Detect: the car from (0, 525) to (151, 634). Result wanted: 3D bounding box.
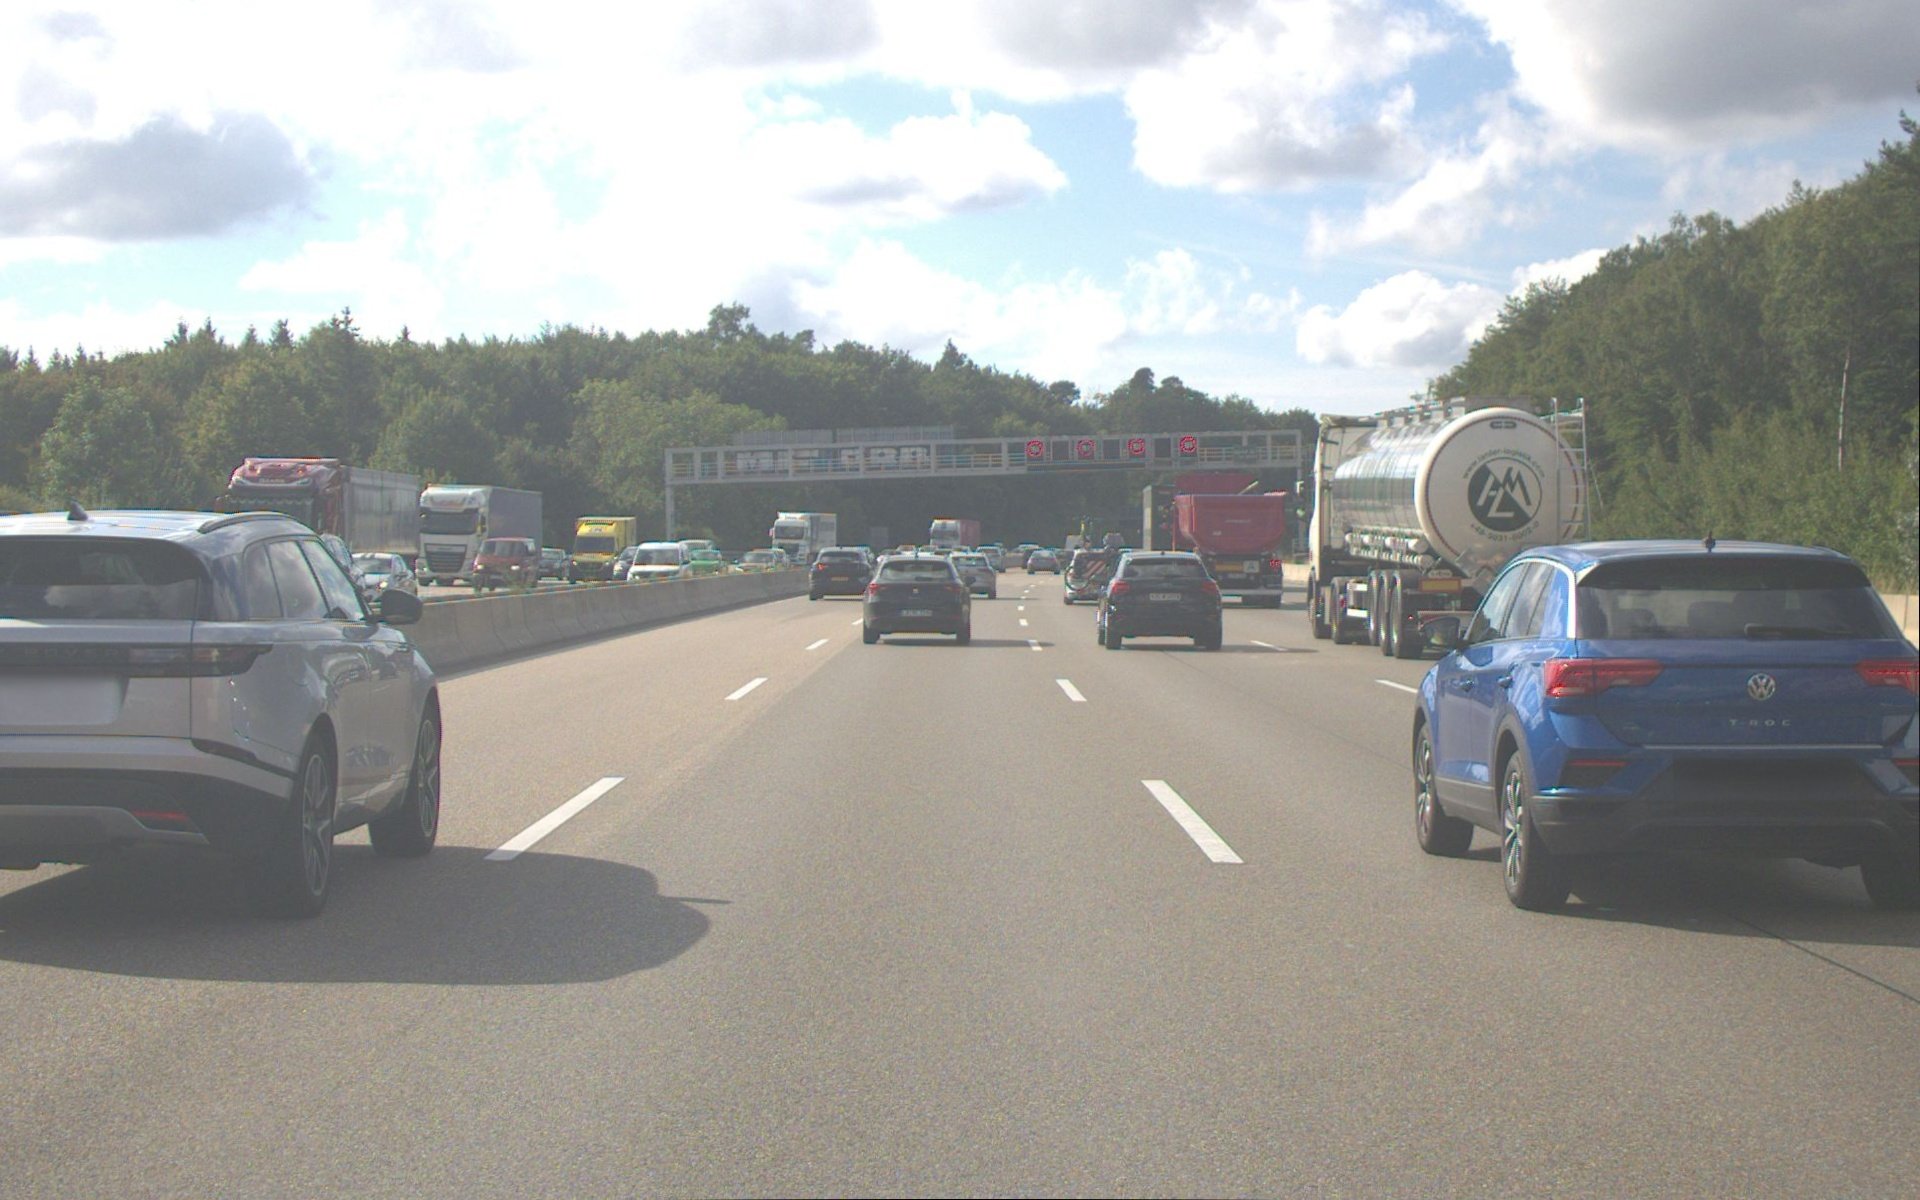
[{"bbox_3d":[-14.373,-0.358,54.633,1.994,1.658,4.687,0,1,-1],"label":"car"}]

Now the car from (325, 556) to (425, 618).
[{"bbox_3d":[-13.672,-0.327,80.489,1.603,1.398,4.000,0,1,1],"label":"car"}]

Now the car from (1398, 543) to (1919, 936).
[{"bbox_3d":[3.147,0.505,15.579,1.773,1.525,4.458,0,1,0],"label":"car"}]

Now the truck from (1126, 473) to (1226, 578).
[{"bbox_3d":[8.347,-2.873,134.019,3.118,3.921,10.412,0,1,-1],"label":"truck"}]

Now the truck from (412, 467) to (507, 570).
[{"bbox_3d":[-20.322,-3.284,139.826,2.819,4.080,6.061,0,1,2],"label":"truck"}]

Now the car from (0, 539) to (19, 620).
[{"bbox_3d":[-17.672,-0.333,58.773,1.827,1.409,4.675,0,1,1],"label":"car"}]

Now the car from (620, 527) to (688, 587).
[{"bbox_3d":[-9.915,-1.402,111.614,1.849,1.872,4.616,-1,1,-1],"label":"car"}]

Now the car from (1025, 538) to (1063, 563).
[{"bbox_3d":[5.107,-3.033,210.295,2.077,1.452,4.000,-1,1,-2],"label":"car"}]

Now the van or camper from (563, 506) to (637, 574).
[{"bbox_3d":[-15.712,-2.621,150.209,2.374,2.882,6.506,-1,1,1],"label":"van or camper"}]

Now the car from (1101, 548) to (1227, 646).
[{"bbox_3d":[3.149,-0.077,53.692,1.822,1.452,4.000,0,1,1],"label":"car"}]

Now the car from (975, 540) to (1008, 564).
[{"bbox_3d":[1.985,-3.055,218.896,2.077,1.452,4.000,-1,1,0],"label":"car"}]

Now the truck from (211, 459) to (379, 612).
[{"bbox_3d":[-17.369,-1.686,90.218,2.967,3.845,6.765,0,1,1],"label":"truck"}]

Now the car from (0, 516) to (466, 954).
[{"bbox_3d":[-3.549,0.447,15.349,2.006,1.611,5.301,1,1,-1],"label":"car"}]

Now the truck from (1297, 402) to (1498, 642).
[{"bbox_3d":[7.293,-1.293,57.962,2.649,3.810,6.082,0,1,1],"label":"truck"}]

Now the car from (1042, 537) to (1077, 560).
[{"bbox_3d":[6.698,-3.471,231.568,2.077,1.452,4.000,-1,1,-2],"label":"car"}]

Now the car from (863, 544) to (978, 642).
[{"bbox_3d":[-0.643,-0.138,56.409,1.822,1.541,4.000,0,1,-1],"label":"car"}]

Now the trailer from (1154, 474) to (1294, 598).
[{"bbox_3d":[7.178,-1.809,94.749,2.710,3.220,9.734,0,2,-2],"label":"trailer"}]

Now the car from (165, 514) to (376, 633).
[{"bbox_3d":[-10.263,-0.426,51.593,2.154,1.694,5.351,0,1,-1],"label":"car"}]

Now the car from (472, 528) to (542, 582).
[{"bbox_3d":[-16.415,-1.644,124.844,1.847,1.934,5.034,0,1,0],"label":"car"}]

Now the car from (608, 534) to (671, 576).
[{"bbox_3d":[-12.713,-1.793,136.600,1.844,1.590,4.913,-1,1,2],"label":"car"}]

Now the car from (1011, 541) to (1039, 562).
[{"bbox_3d":[4.704,-3.536,249.192,1.929,1.452,4.392,-1,1,2],"label":"car"}]

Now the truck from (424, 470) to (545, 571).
[{"bbox_3d":[-20.110,-3.339,146.258,2.819,4.080,13.845,0,1,2],"label":"truck"}]

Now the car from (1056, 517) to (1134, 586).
[{"bbox_3d":[3.742,-1.362,95.895,1.893,1.850,4.101,1,1,-1],"label":"car"}]

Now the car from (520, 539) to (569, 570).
[{"bbox_3d":[-19.624,-2.150,162.474,1.697,1.465,4.022,0,1,2],"label":"car"}]

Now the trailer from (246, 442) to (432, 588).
[{"bbox_3d":[-17.253,-2.335,96.298,2.967,3.845,11.281,0,1,1],"label":"trailer"}]

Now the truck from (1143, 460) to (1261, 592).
[{"bbox_3d":[6.976,-2.157,99.784,2.709,3.706,5.818,0,2,-3],"label":"truck"}]

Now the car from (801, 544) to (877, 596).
[{"bbox_3d":[-3.632,-0.919,103.702,1.942,1.452,4.000,-1,1,2],"label":"car"}]

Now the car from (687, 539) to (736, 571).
[{"bbox_3d":[-11.381,-2.065,157.502,1.784,1.465,4.331,0,1,2],"label":"car"}]

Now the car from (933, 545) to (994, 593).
[{"bbox_3d":[0.127,-0.959,107.223,1.822,1.452,4.000,0,1,1],"label":"car"}]

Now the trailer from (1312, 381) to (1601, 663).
[{"bbox_3d":[7.273,-1.156,52.063,2.649,3.754,11.860,0,1,0],"label":"trailer"}]

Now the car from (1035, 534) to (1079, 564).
[{"bbox_3d":[4.880,-2.579,172.882,1.942,1.452,4.000,-1,1,-2],"label":"car"}]
